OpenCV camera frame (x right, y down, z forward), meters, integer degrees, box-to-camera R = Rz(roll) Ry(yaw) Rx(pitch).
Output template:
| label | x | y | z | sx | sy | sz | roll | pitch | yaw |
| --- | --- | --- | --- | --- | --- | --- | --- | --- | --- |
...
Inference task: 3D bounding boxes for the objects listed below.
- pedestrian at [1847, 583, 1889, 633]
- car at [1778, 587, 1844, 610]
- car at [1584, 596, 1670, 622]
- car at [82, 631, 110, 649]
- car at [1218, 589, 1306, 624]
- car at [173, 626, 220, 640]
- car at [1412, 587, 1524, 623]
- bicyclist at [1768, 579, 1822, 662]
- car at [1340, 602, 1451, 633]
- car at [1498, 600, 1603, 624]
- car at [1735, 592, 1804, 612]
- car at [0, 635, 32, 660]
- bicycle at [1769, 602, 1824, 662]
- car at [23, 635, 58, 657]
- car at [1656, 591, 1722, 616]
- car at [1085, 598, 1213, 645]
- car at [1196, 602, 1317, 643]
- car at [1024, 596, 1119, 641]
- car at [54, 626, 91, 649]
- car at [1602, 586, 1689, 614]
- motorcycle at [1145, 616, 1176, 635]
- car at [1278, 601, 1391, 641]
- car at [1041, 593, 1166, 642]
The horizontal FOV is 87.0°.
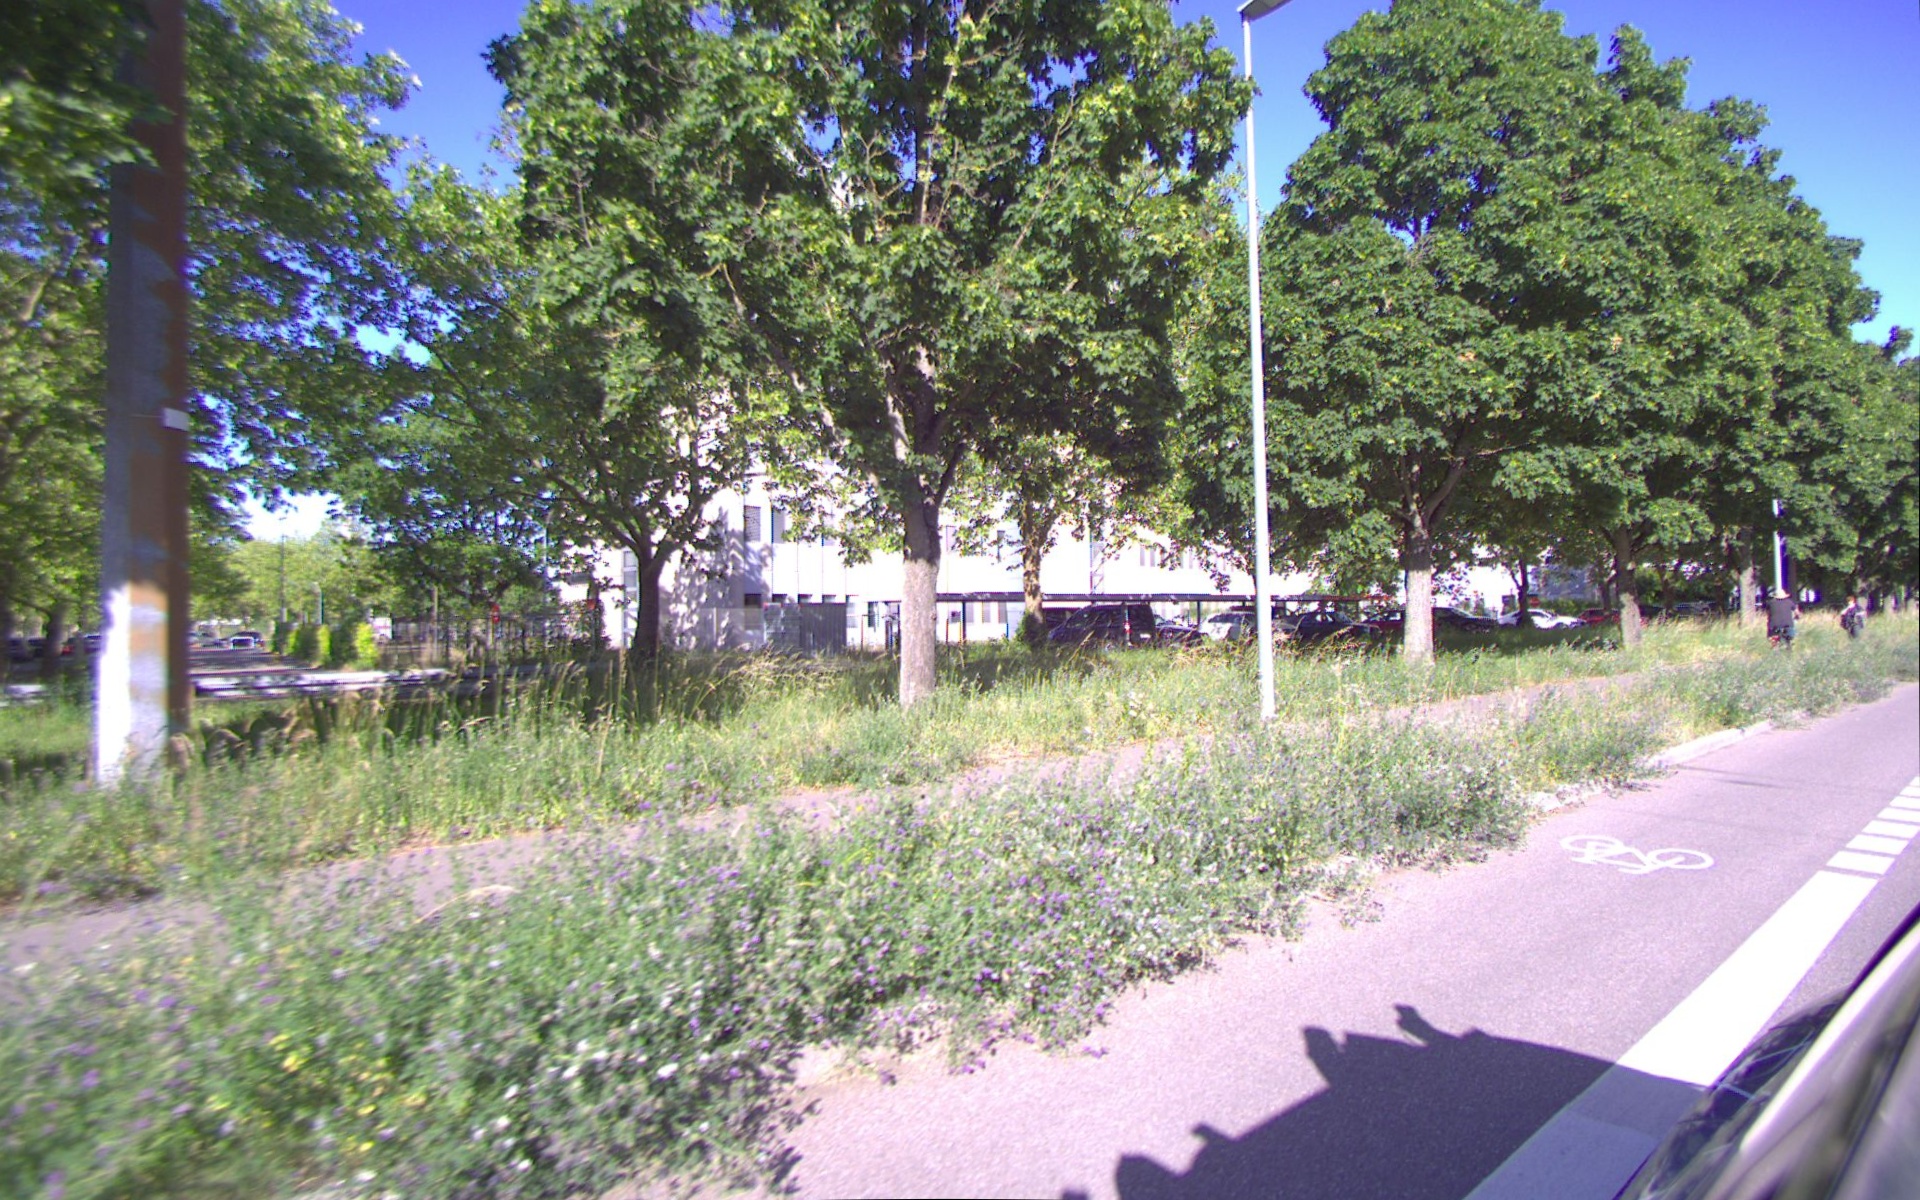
| label | x | y | z | sx | sy | sz | roll | pitch | yaw |
| --- | --- | --- | --- | --- | --- | --- | --- | --- | --- |
| pedestrian | 29.477 | 0.250 | 32.851 | 0.748 | 1.589 | 0.826 | 0 | -2 | -37 |
| car | 77.421 | -0.100 | 92.203 | 2.044 | 1.900 | 5.175 | -2 | -1 | 7 |
| car | 41.203 | 0.545 | 62.576 | 4.228 | 1.555 | 1.739 | 0 | 0 | 43 |
| car | -75.392 | 3.530 | 88.313 | 1.800 | 1.481 | 4.223 | 0 | -2 | -41 |
| car | 17.896 | 0.404 | 60.093 | 1.938 | 1.975 | 4.759 | 0 | -1 | -38 |
| car | -86.379 | 3.694 | 114.540 | 4.158 | 1.481 | 1.828 | -1 | -2 | -42 |
| car | 24.151 | 0.261 | 48.210 | 1.851 | 1.617 | 4.397 | 0 | -1 | -41 |
| bicyclist | 18.205 | 0.437 | 22.065 | 0.886 | 1.742 | 0.684 | -1 | -1 | -39 |
| car | 19.744 | 0.778 | 46.073 | 1.902 | 1.341 | 4.307 | 1 | -1 | -33 |
| car | 32.498 | 0.657 | 55.771 | 1.775 | 1.287 | 4.705 | 1 | -1 | -40 |
| car | 66.356 | 0.215 | 83.017 | 1.812 | 1.535 | 4.550 | -1 | -1 | -3 |
| car | -60.484 | 3.043 | 64.459 | 1.705 | 1.511 | 3.995 | 0 | -1 | -39 |
| bicycle | 18.289 | 0.680 | 22.113 | 2.105 | 1.220 | 0.484 | -1 | -1 | -39 |
| car | -67.010 | 3.350 | 73.826 | 1.800 | 1.481 | 4.223 | 0 | -2 | -41 |
| car | 50.482 | 0.246 | 70.168 | 1.691 | 1.660 | 3.985 | -1 | -1 | 1 |
| car | 6.364 | 0.719 | 34.569 | 1.657 | 1.478 | 4.369 | 0 | -1 | -35 |
| car | 11.221 | 0.851 | 38.523 | 1.790 | 1.450 | 4.177 | -1 | -1 | -35 |
| car | 5.276 | 0.885 | 48.472 | 1.921 | 2.039 | 4.597 | 0 | -1 | -37 |
| car | -69.572 | 2.961 | 79.410 | 1.798 | 1.696 | 4.228 | -1 | -2 | -36 |
| car | 43.425 | -0.003 | 64.174 | 4.332 | 1.722 | 1.739 | 0 | 0 | 43 |
| motorcycle | 10.691 | 1.359 | 53.965 | 0.528 | 0.983 | 1.652 | 0 | -1 | -39 |
| car | 15.210 | 0.858 | 41.265 | 1.677 | 1.545 | 3.999 | 0 | -1 | -41 |
| car | 4.649 | 0.568 | 33.263 | 1.706 | 1.524 | 4.039 | 0 | -1 | -37 |
